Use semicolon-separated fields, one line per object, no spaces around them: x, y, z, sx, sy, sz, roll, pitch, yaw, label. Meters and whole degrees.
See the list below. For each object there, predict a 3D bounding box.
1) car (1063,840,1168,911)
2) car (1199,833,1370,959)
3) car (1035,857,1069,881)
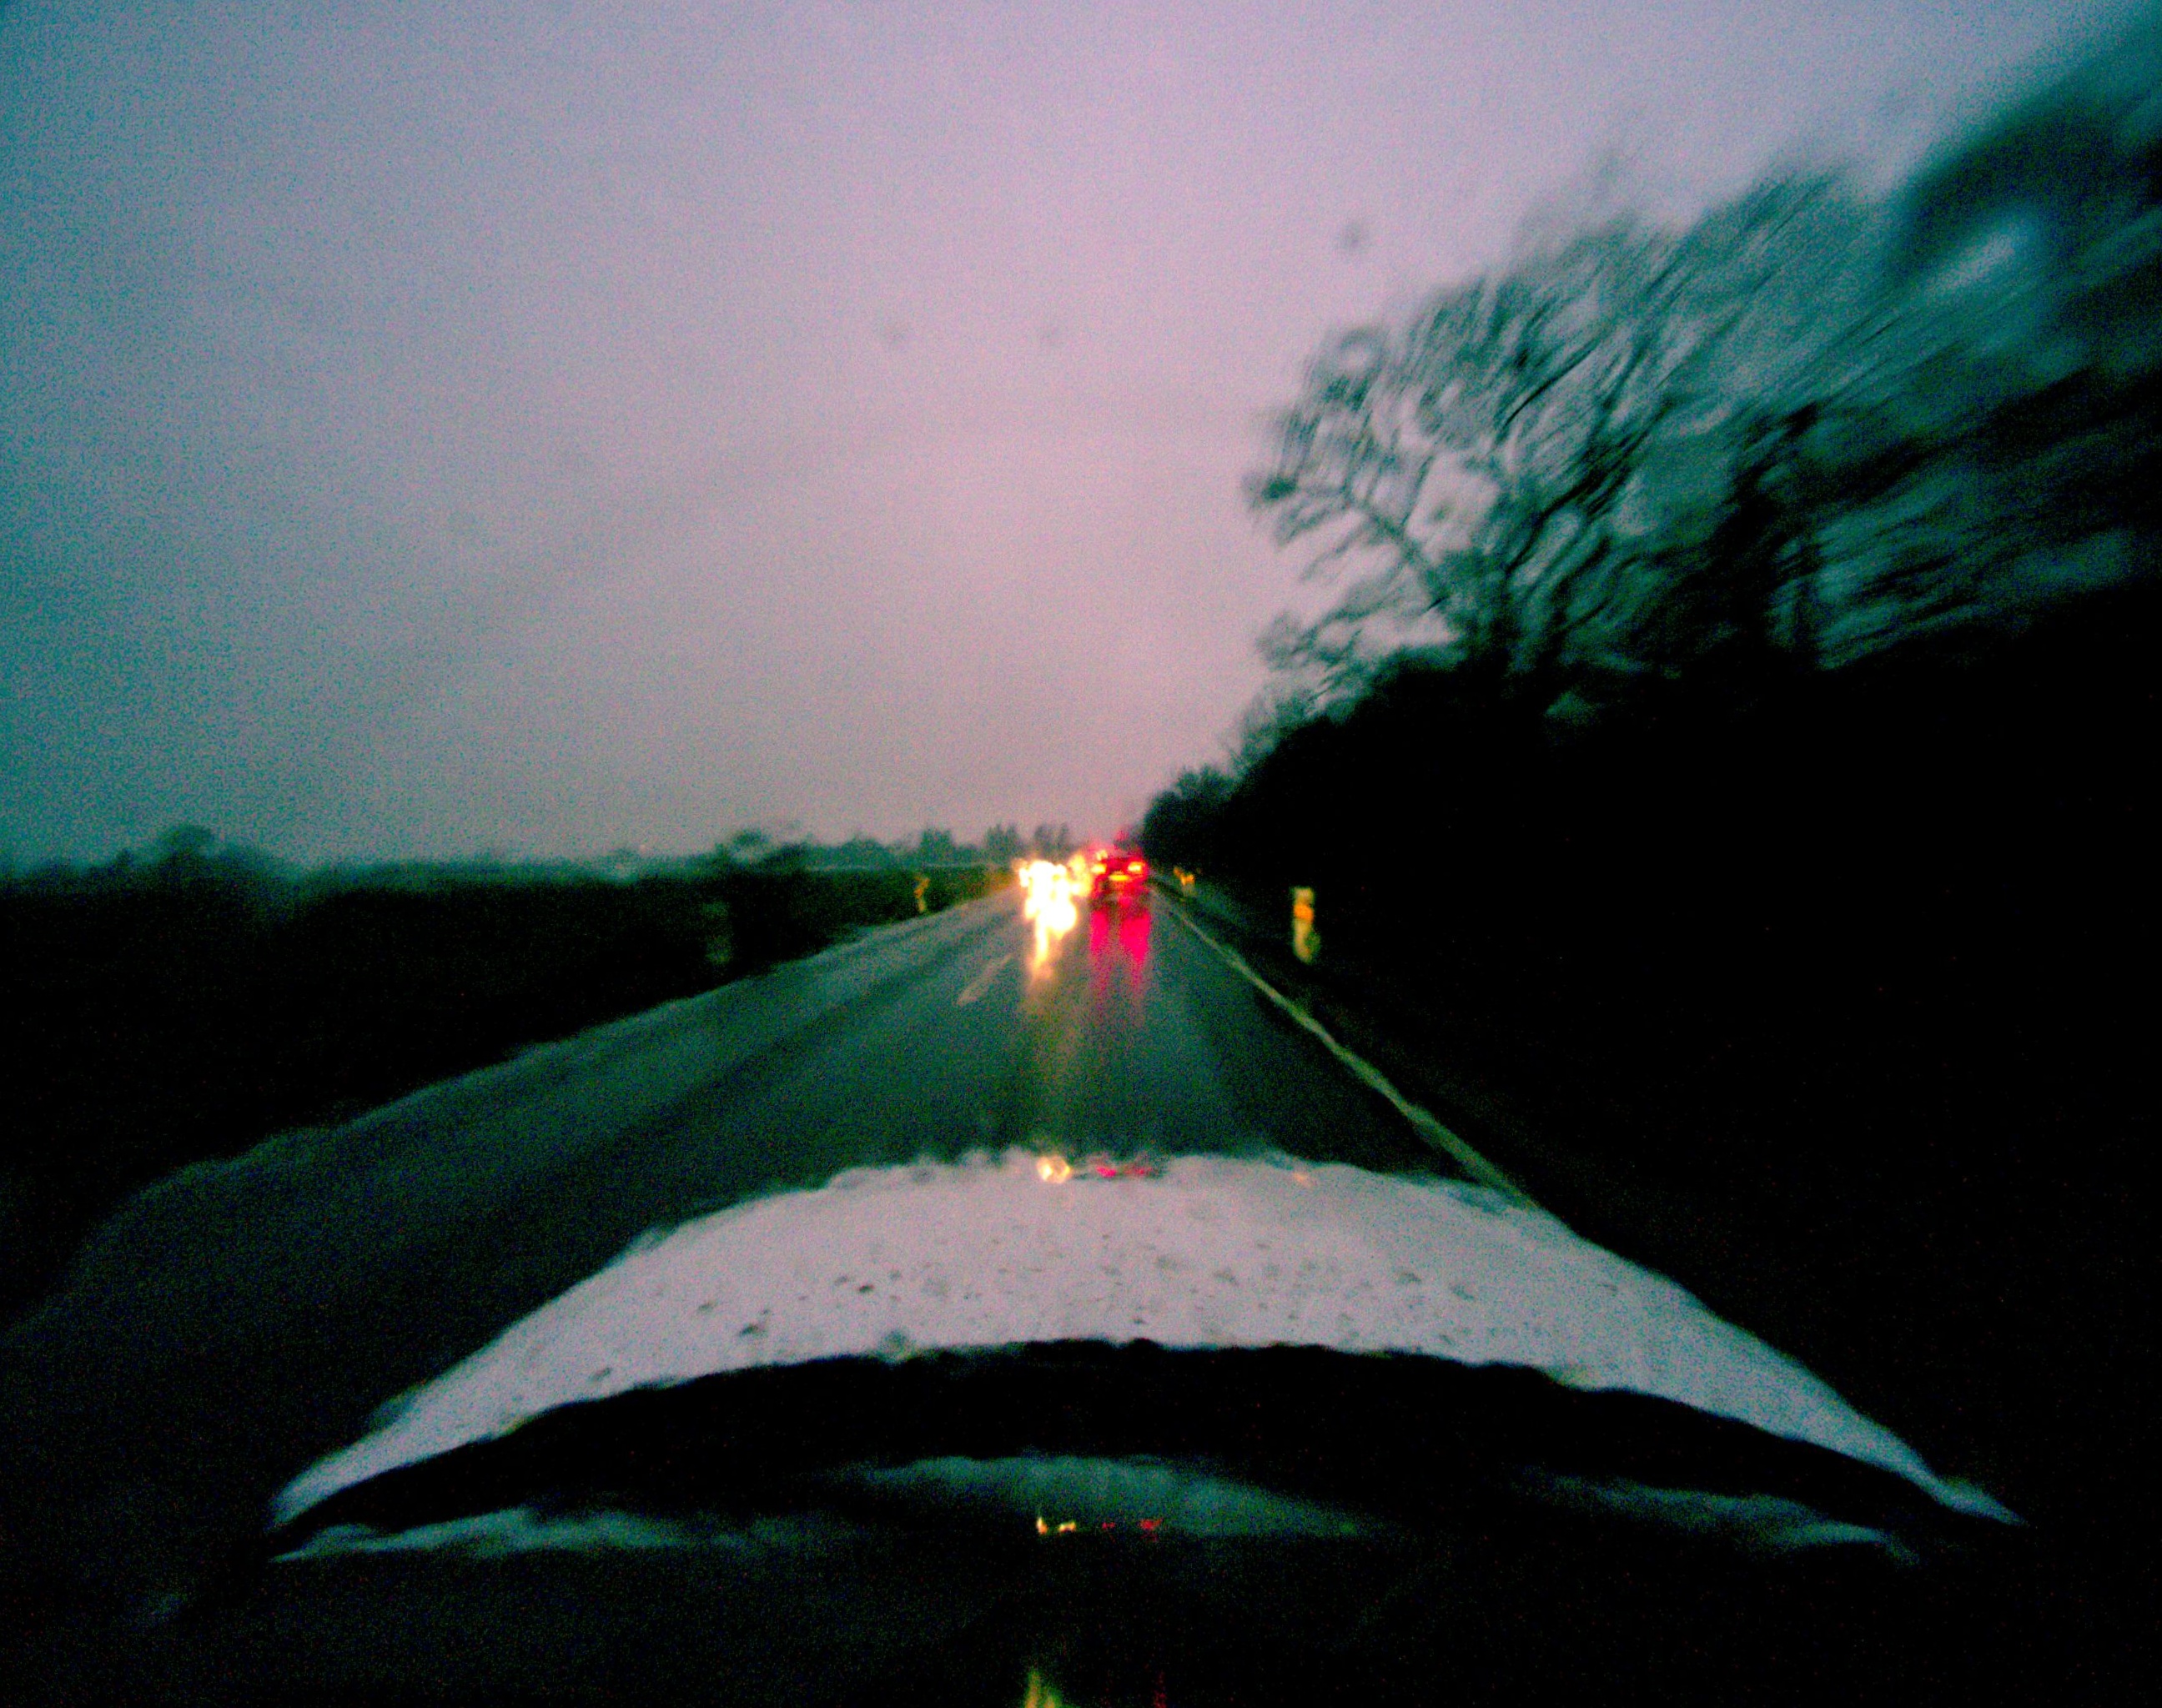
1.183;0.649;28.436;3.152;2.035;6.855;-2;0;2;car
3.158;0.605;13.498;1.921;1.750;4.001;-1;0;2;car
-2.018;1.034;57.360;1.986;1.463;4.353;-6;-1;2;car
